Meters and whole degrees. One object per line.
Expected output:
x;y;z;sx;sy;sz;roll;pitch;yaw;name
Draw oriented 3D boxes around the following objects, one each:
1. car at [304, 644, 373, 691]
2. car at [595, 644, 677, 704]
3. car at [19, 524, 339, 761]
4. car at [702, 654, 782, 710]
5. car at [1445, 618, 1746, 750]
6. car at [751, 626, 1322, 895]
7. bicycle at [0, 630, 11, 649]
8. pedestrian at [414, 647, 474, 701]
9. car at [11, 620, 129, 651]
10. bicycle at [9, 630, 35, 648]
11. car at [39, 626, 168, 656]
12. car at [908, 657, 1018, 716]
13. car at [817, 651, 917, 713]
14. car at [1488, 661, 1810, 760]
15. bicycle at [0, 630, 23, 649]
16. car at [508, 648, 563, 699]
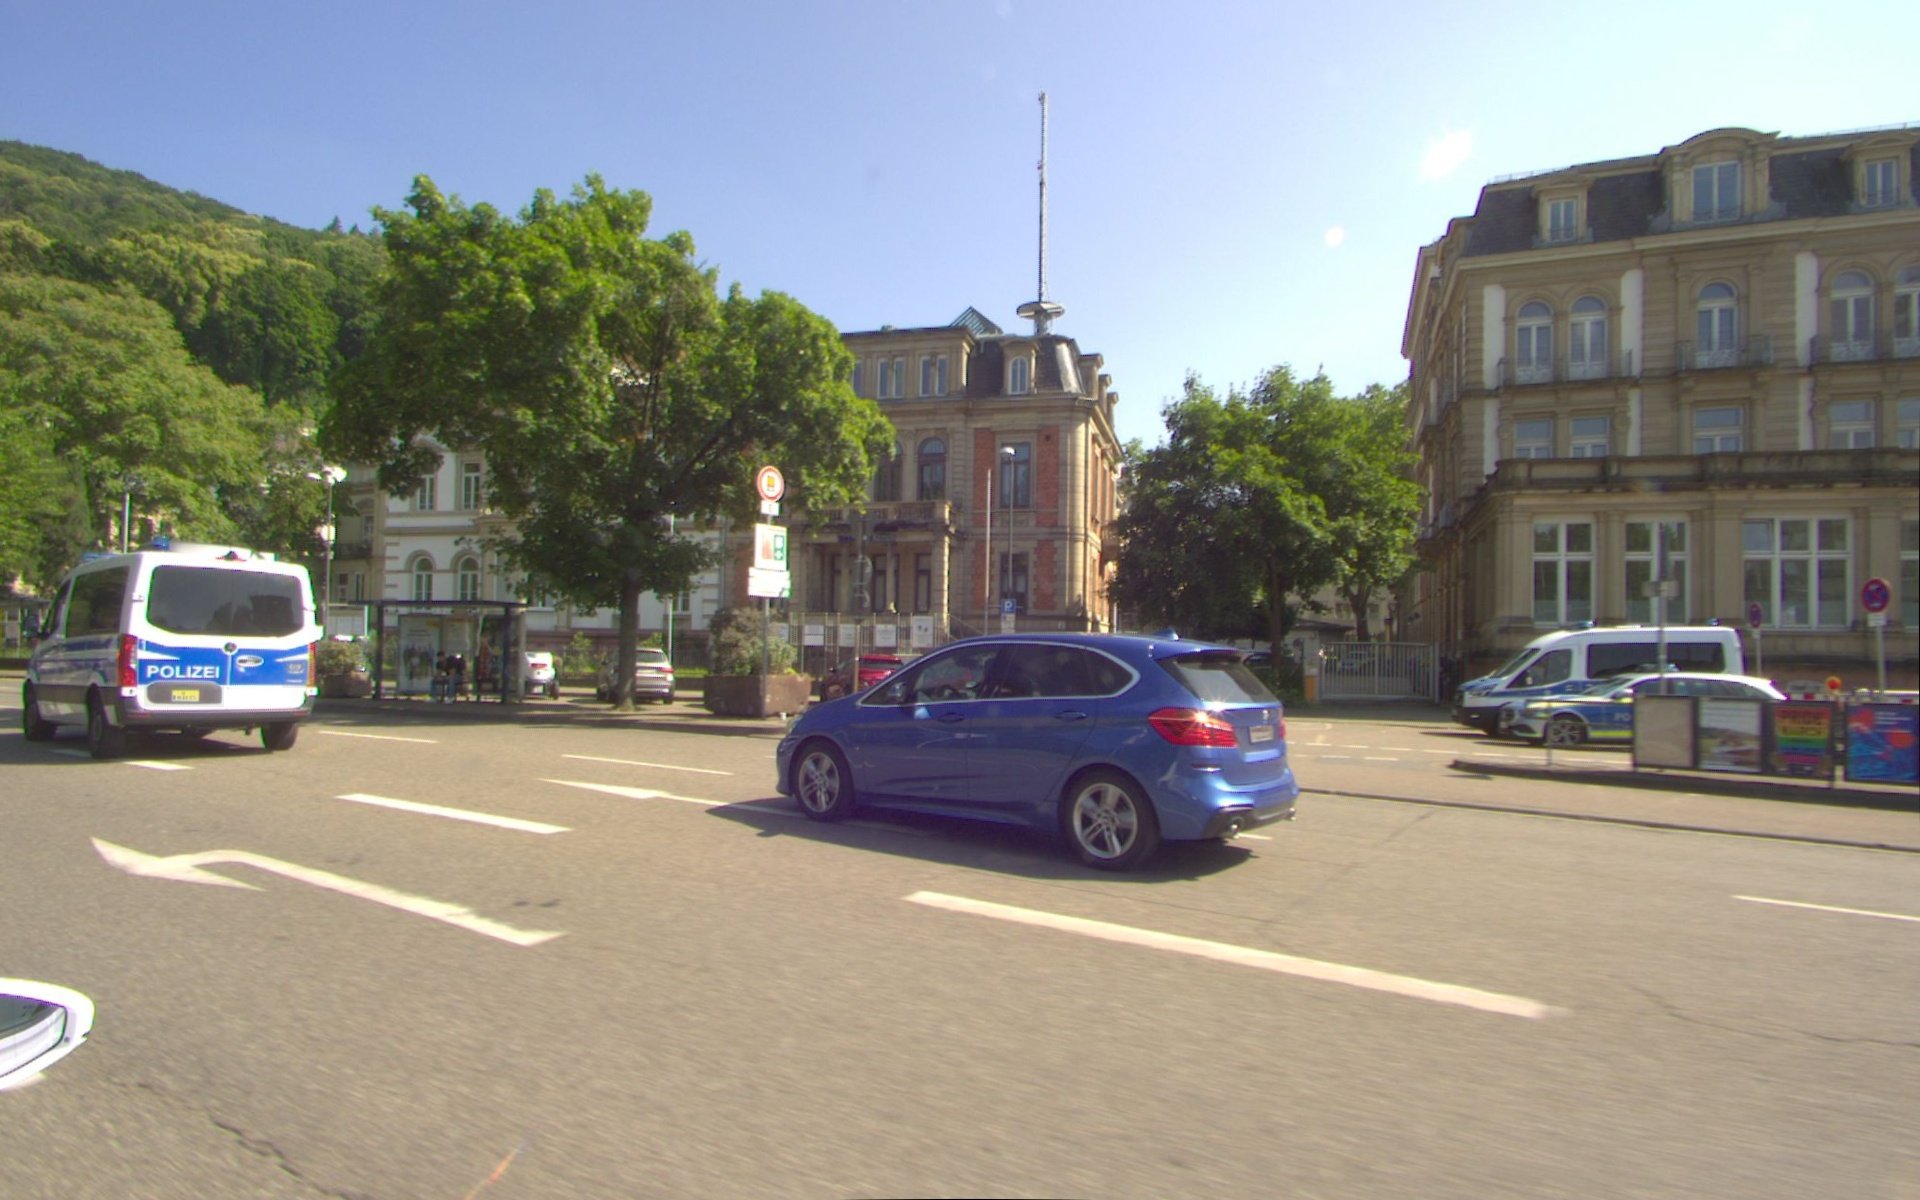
-20.620;2.229;33.339;1.689;1.460;3.795;3;-3;-29;car
-9.751;2.154;29.940;1.688;1.649;4.300;2;-3;-26;car
-10.275;0.564;13.051;4.867;2.539;2.067;-2;-3;37;car
-6.308;2.308;28.730;1.580;1.434;3.811;2;-3;-22;car
13.735;1.778;22.036;5.220;2.636;1.999;0;-3;15;car
0.433;1.030;7.863;4.218;1.560;1.714;-1;-4;38;car
-59.340;2.429;61.776;1.805;1.099;0.537;0;-1;26;bicycle
-11.873;1.691;23.069;0.776;1.212;1.022;1;-2;3;pedestrian
-45.630;1.850;51.476;1.844;1.494;4.151;0;-2;19;car
-58.931;2.477;62.908;1.805;1.099;0.537;0;-1;26;bicycle
-41.655;2.002;48.822;1.790;1.353;4.473;0;-2;21;car
0.016;2.310;27.294;1.721;1.435;3.691;2;-3;-22;car
-2.681;2.250;28.127;1.722;1.594;3.868;2;-3;-22;car
13.103;2.065;19.392;4.789;1.646;1.822;1;-3;14;car
-59.149;2.453;62.354;1.805;1.099;0.537;0;-1;26;bicycle
-13.157;2.266;30.993;1.185;1.501;2.276;3;-3;-32;car
